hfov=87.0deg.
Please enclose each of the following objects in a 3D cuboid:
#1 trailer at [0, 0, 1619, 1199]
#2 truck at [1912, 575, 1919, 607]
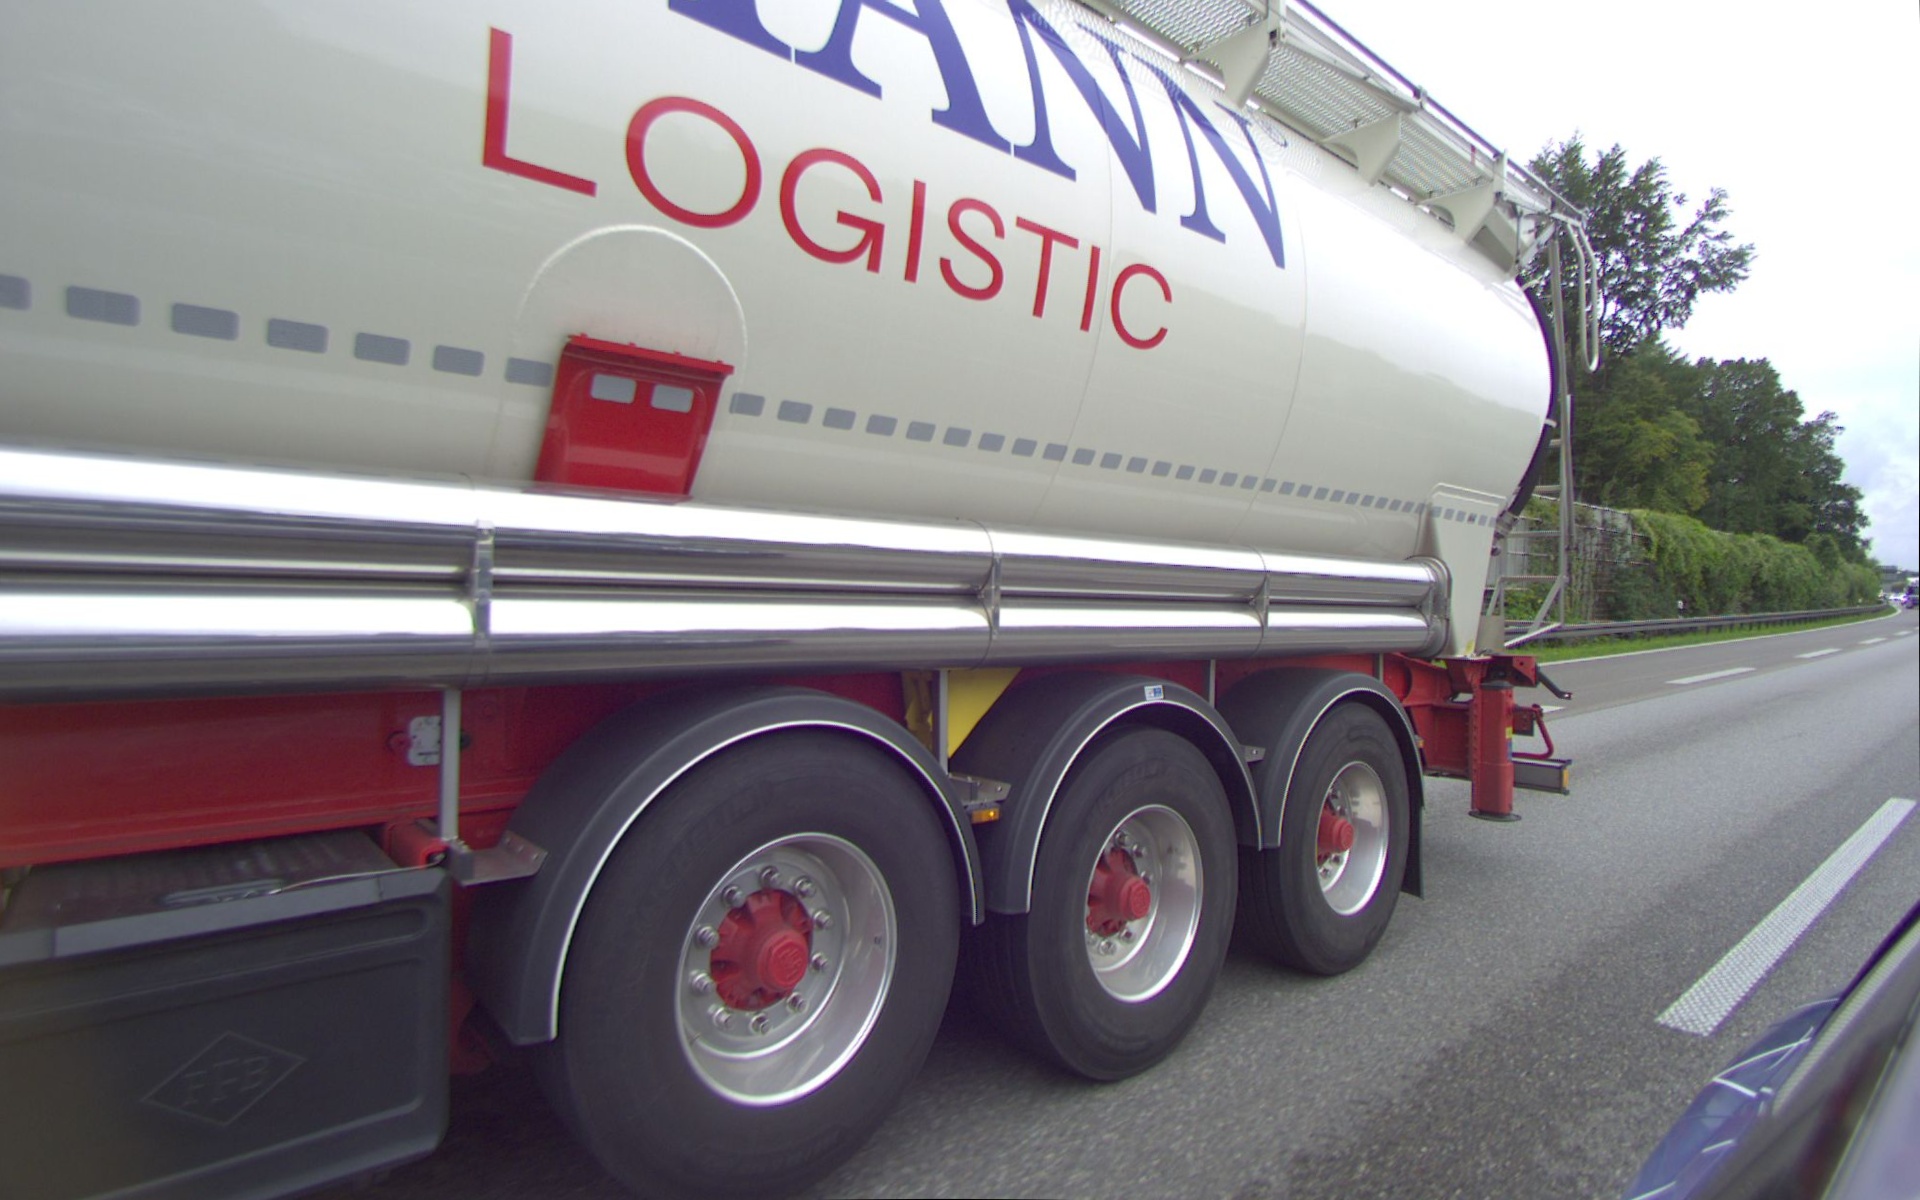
[{"bbox_3d":[-2.029,-0.606,2.441,12.901,3.988,2.673,-1,1,-41],"label":"trailer"},{"bbox_3d":[119.781,-1.145,125.008,2.699,3.757,8.123,1,2,40],"label":"truck"}]
